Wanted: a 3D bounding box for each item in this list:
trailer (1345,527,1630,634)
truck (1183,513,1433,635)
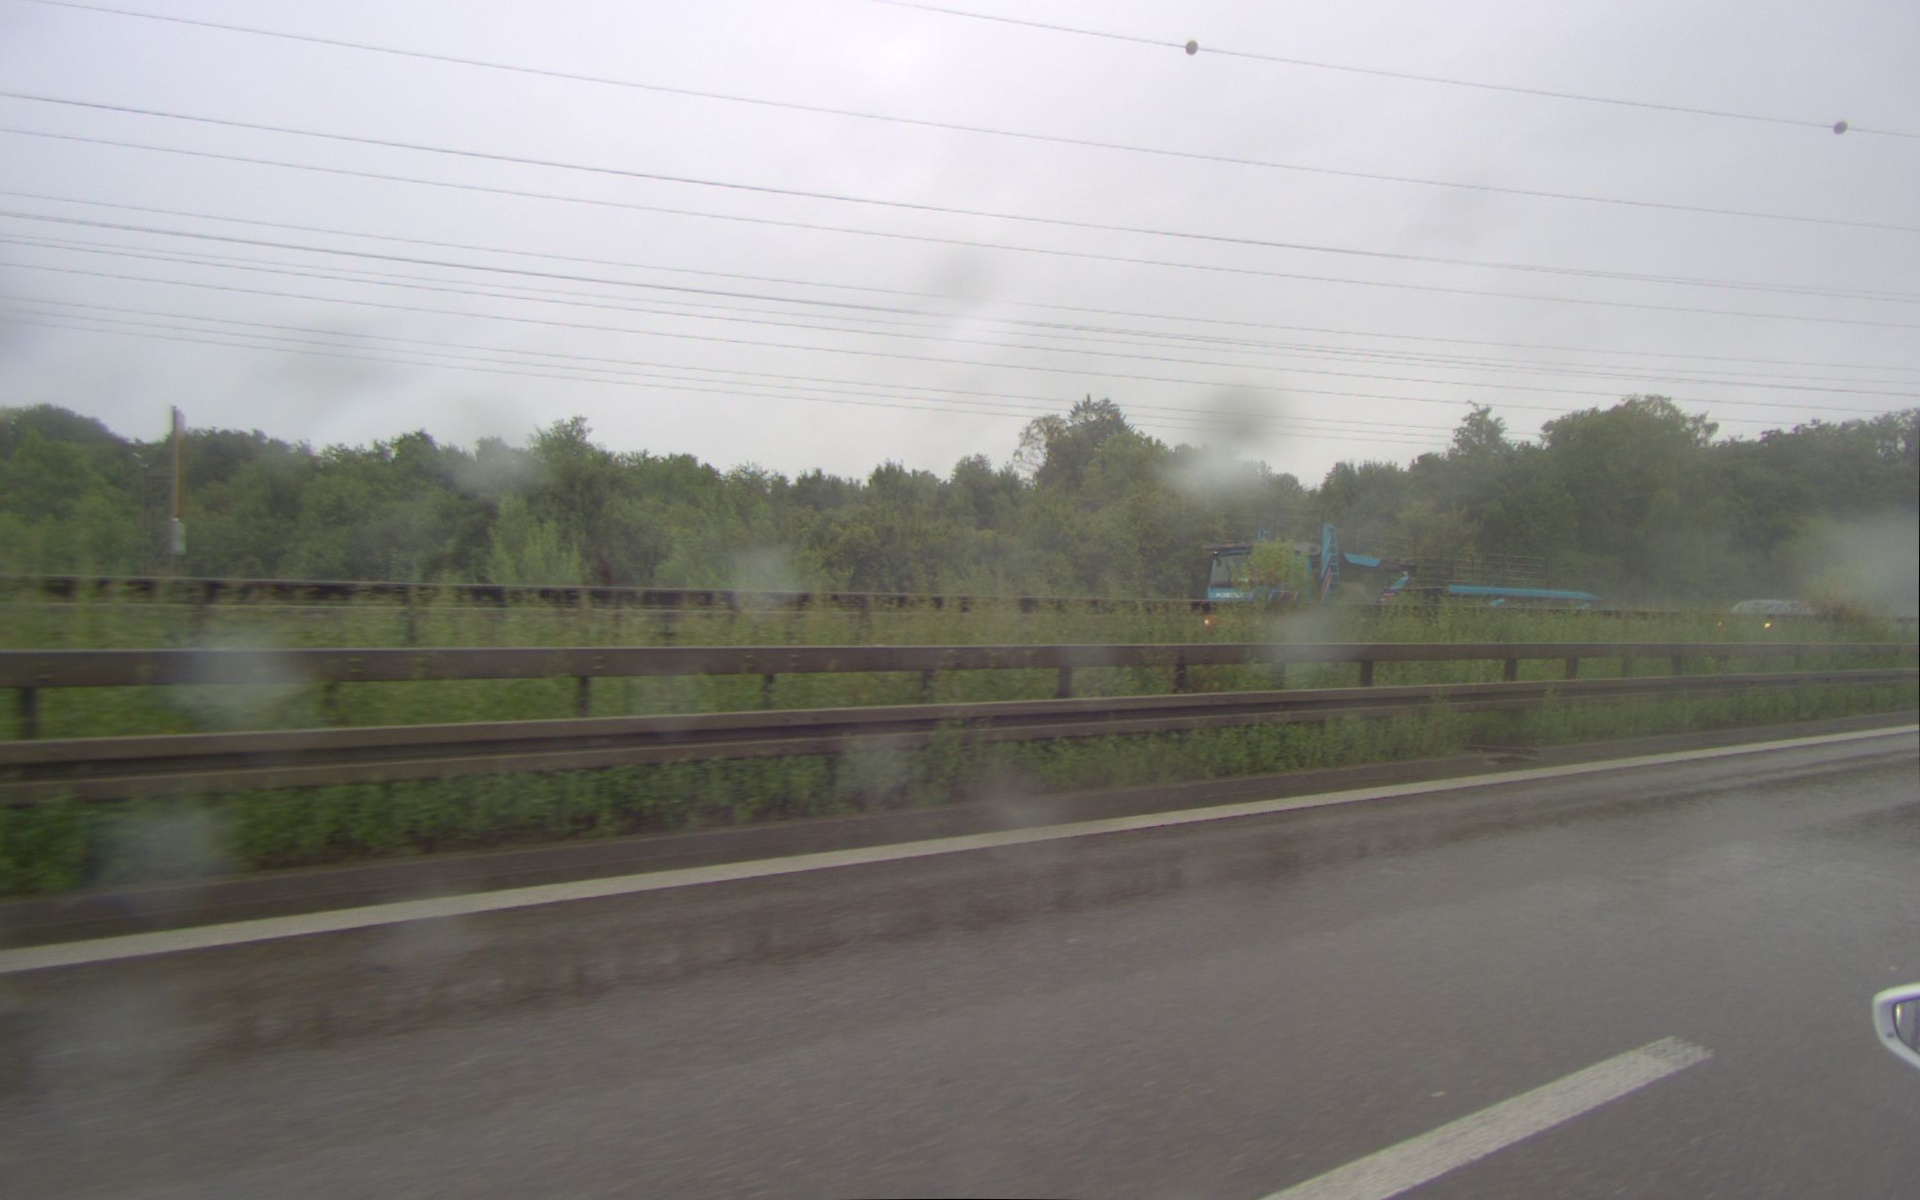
[{"bbox_3d":[18.901,-0.597,35.550,11.880,3.294,3.031,1,3,-31],"label":"trailer"},{"bbox_3d":[10.668,-0.751,30.615,7.306,3.321,3.053,1,4,-31],"label":"truck"}]
